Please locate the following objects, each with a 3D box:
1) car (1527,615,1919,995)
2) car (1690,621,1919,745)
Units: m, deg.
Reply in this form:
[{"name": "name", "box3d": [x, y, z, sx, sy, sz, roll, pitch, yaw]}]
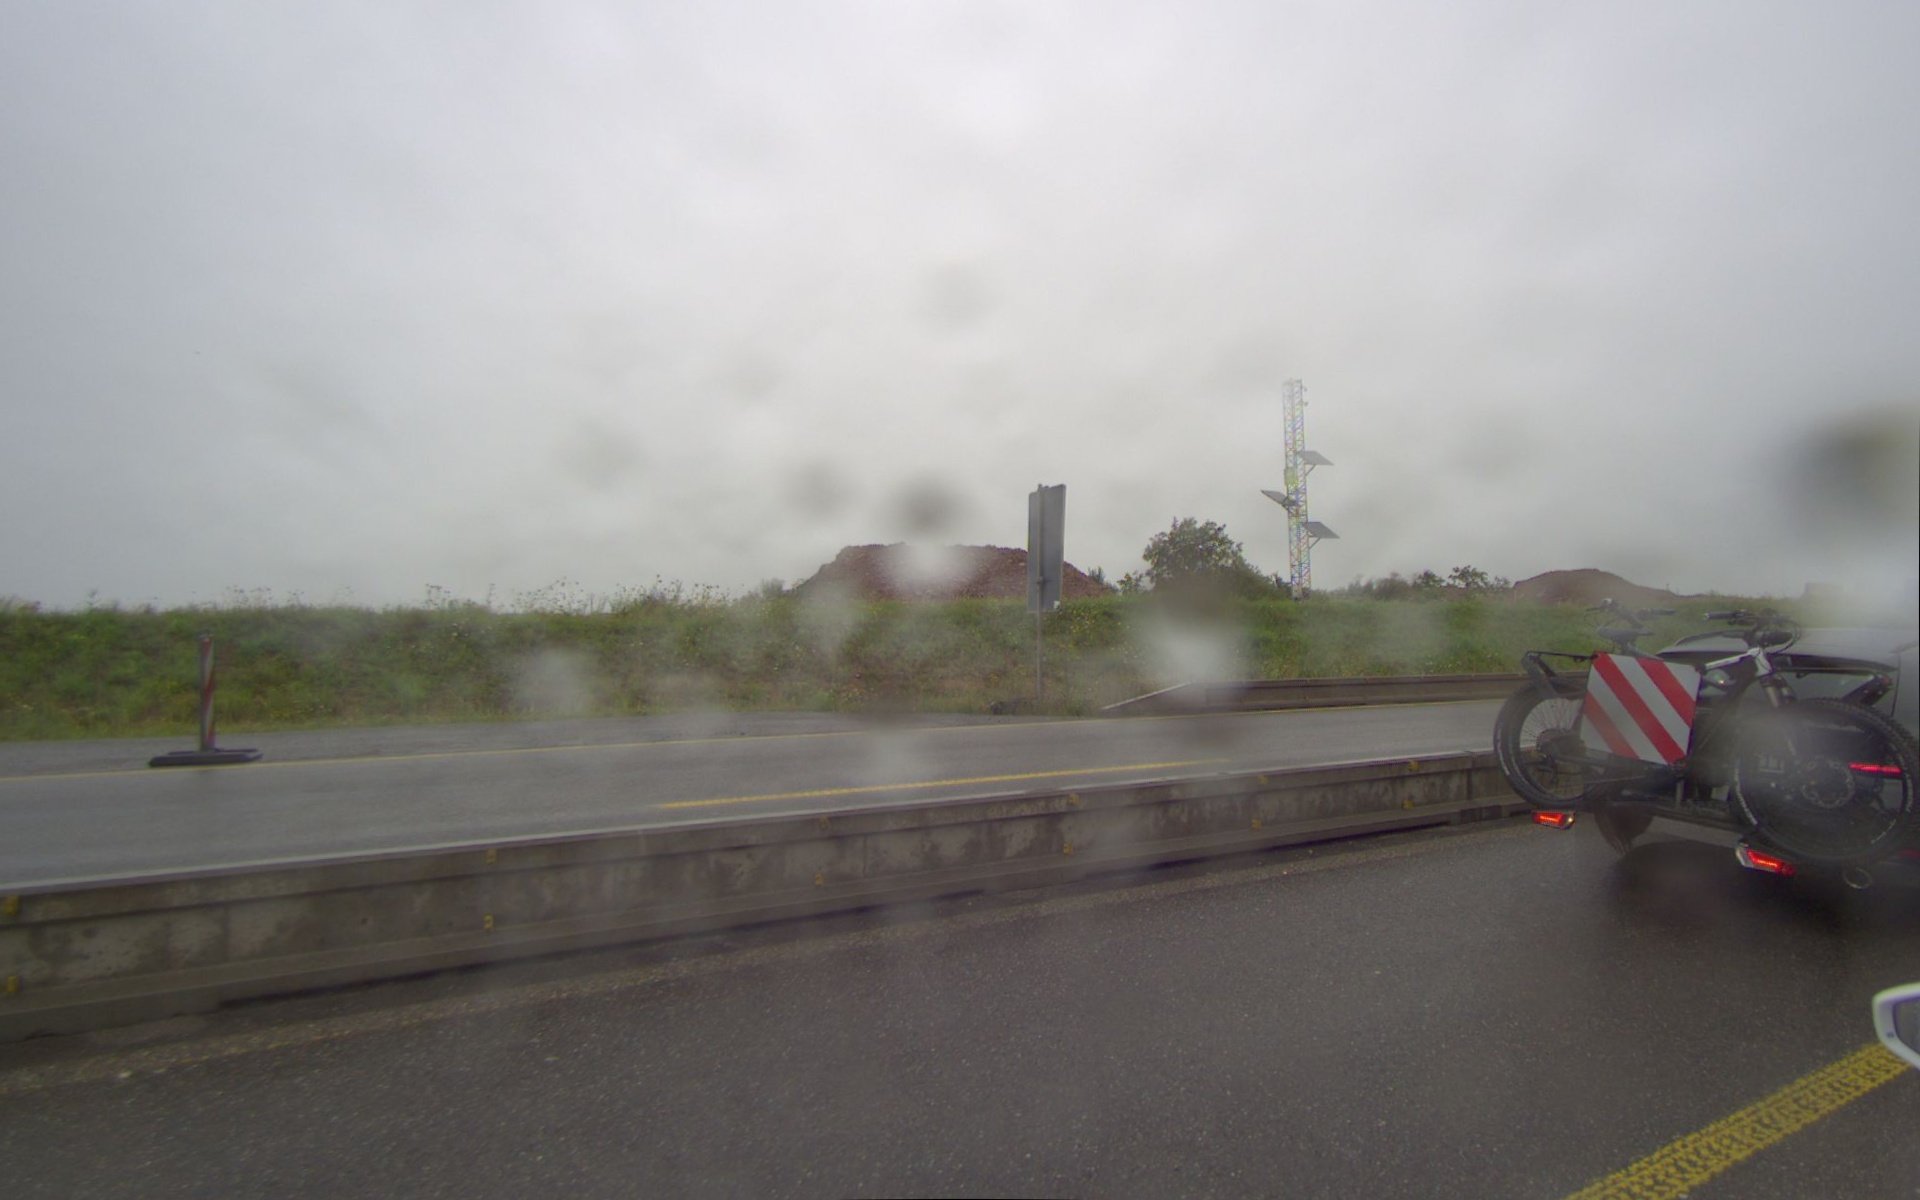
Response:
[{"name": "car", "box3d": [6.019, 0.889, 6.309, 5.562, 1.482, 1.726, 0, 1, -30]}, {"name": "car", "box3d": [12.089, 1.065, 14.044, 3.687, 1.485, 1.658, 1, 0, -30]}]
